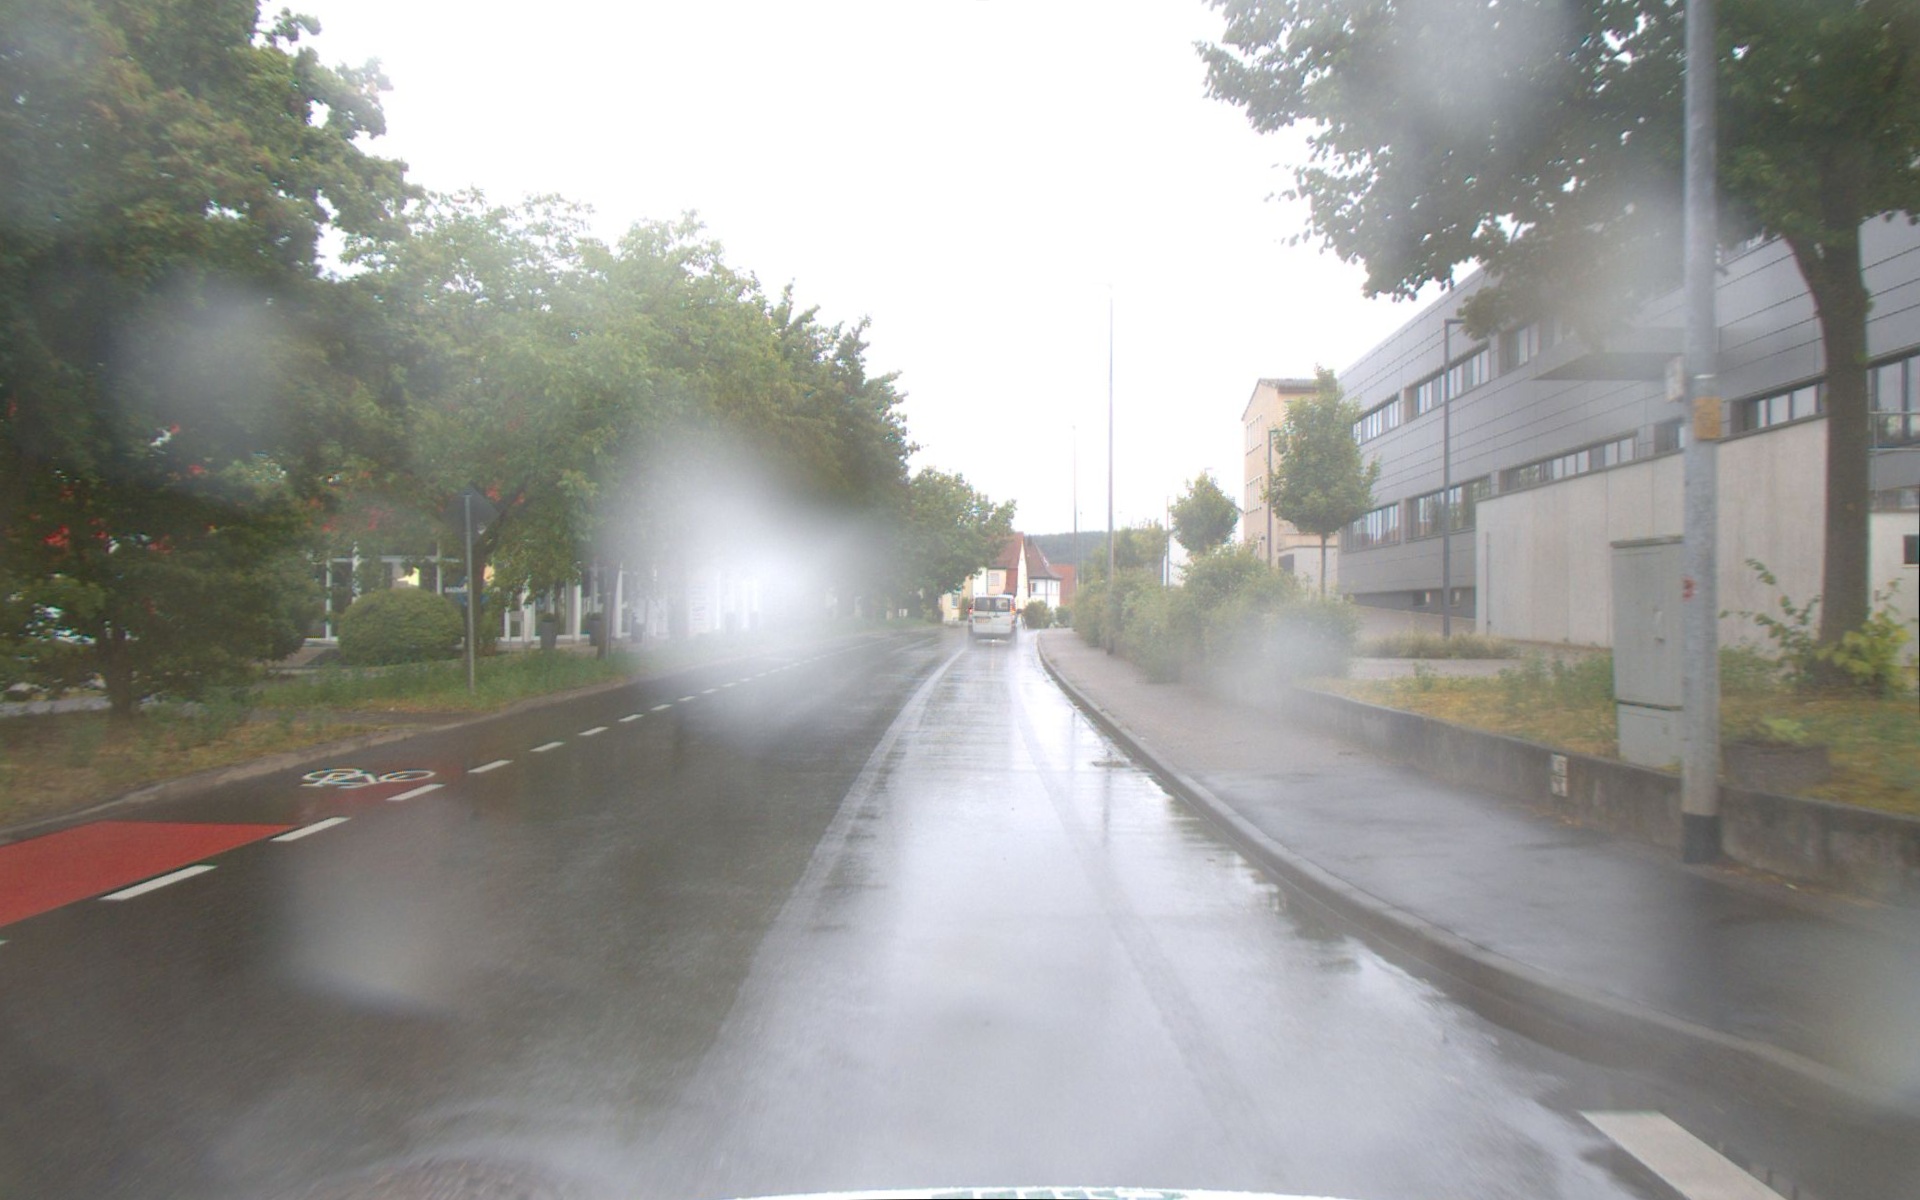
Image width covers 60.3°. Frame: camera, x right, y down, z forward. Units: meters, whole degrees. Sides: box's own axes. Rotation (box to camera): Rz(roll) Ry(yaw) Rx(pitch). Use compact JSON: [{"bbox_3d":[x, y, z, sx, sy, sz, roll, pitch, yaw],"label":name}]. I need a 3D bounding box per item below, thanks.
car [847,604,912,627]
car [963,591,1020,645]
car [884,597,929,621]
[{"bbox_3d":[-4.915,0.956,101.126,3.818,1.306,1.582,-2,-1,4],"label":"car"},{"bbox_3d":[1.178,0.647,63.304,2.073,1.921,4.502,1,1,0],"label":"car"},{"bbox_3d":[-3.541,0.606,109.387,2.847,1.481,1.253,-2,-3,4],"label":"car"}]
